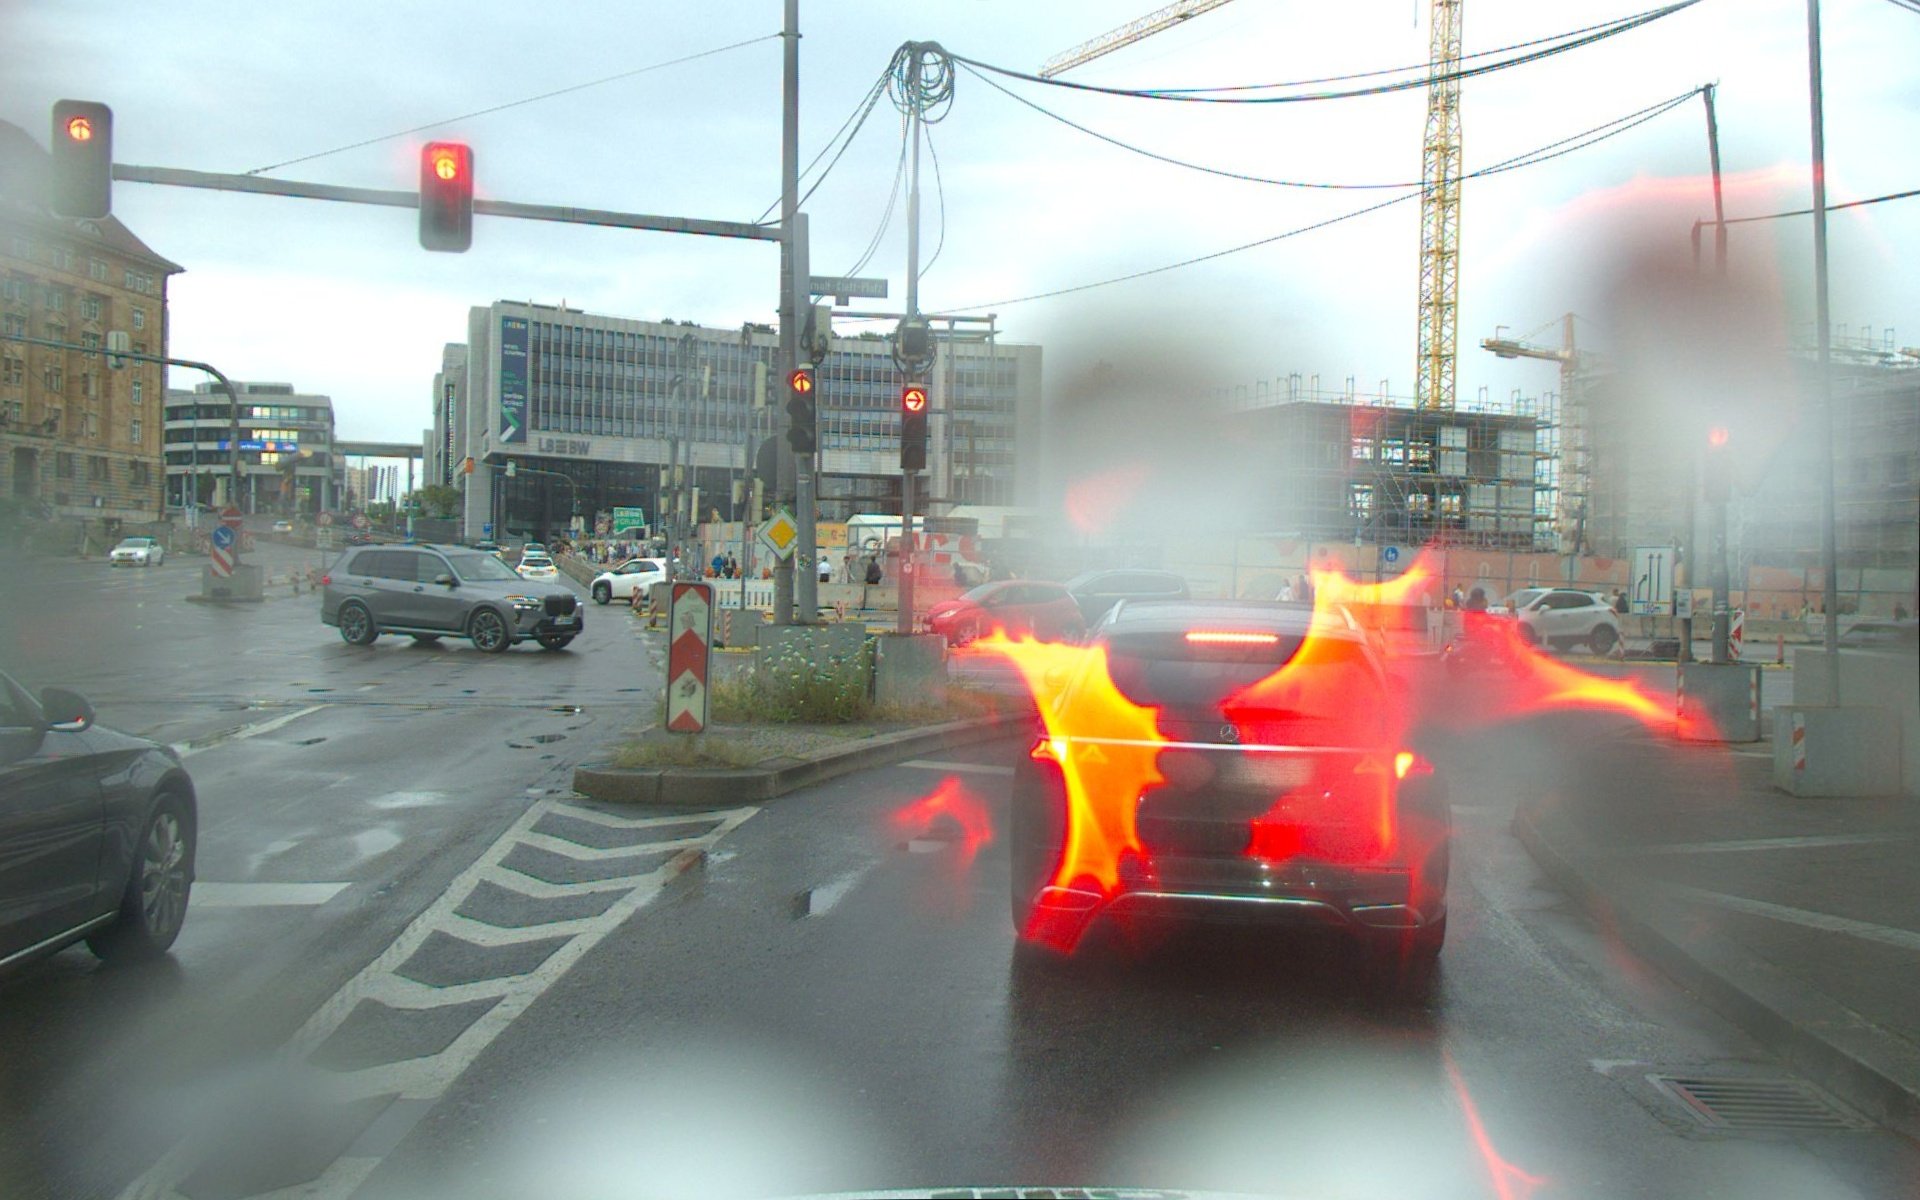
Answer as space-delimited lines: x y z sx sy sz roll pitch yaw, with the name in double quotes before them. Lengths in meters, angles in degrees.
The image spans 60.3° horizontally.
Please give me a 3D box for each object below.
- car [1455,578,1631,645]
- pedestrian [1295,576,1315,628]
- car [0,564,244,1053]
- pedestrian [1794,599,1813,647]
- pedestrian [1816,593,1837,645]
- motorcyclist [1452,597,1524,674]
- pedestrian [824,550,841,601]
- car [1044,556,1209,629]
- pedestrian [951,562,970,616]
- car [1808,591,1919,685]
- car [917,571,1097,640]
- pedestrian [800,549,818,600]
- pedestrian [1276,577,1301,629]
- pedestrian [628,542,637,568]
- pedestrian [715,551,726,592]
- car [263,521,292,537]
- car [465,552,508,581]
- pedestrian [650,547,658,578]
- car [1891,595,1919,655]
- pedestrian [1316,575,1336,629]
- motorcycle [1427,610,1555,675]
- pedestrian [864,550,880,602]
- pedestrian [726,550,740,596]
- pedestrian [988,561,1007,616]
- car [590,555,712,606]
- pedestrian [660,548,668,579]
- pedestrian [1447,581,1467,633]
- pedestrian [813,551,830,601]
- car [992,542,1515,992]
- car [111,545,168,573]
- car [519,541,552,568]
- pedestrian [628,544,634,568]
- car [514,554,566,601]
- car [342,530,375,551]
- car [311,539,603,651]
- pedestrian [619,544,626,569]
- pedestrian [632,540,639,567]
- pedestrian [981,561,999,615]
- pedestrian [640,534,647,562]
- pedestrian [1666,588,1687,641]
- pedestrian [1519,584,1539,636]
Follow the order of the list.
"car" 15.233 0.301 43.256 3.980 1.579 1.988 2 -1 -20
"pedestrian" 12.810 0.080 61.401 0.564 1.931 0.361 2 -1 -12
"car" -3.729 0.624 4.781 1.749 1.427 4.481 2 1 -6
"pedestrian" 34.105 0.939 66.863 0.564 1.931 0.361 2 -1 -12
"pedestrian" 32.984 0.724 62.965 0.564 1.931 0.361 2 -1 -12
"motorcyclist" 9.747 0.646 30.554 0.929 1.382 0.846 2 -1 -14
"pedestrian" -4.888 -0.939 63.423 0.359 1.931 0.568 3 -1 -41
"car" 4.420 -0.180 44.082 3.923 1.764 1.991 2 -1 -17
"pedestrian" 0.008 -0.385 60.025 0.562 1.931 0.362 2 -1 13
"car" 17.083 0.692 28.412 4.017 1.533 1.999 2 -1 -3
"car" 0.991 0.132 35.453 3.481 1.327 1.657 2 -1 -20
"pedestrian" -5.754 -0.973 63.053 0.358 1.931 0.569 3 -1 -37
"pedestrian" 12.284 0.115 61.881 0.645 1.934 0.630 2 -1 -14
"pedestrian" -24.723 -3.365 124.882 0.511 1.931 0.573 2 -1 -18
"pedestrian" -11.379 -1.364 78.504 0.356 1.931 0.572 2 -1 -22
"car" -84.769 -8.783 205.495 1.984 1.847 3.936 3 -1 -43
"car" -29.313 -2.067 102.297 1.968 1.668 3.969 2 -1 -25
"pedestrian" -18.916 -2.306 102.272 0.355 1.931 0.573 2 -1 -18
"car" 29.812 0.797 48.765 3.925 1.738 1.990 2 -1 -18
"pedestrian" 13.189 0.062 59.560 0.564 1.931 0.361 2 -1 -12
"motorcycle" 9.815 0.778 30.568 2.099 1.128 0.848 2 -1 -13
"pedestrian" -3.308 -0.899 62.038 0.356 1.931 0.572 2 -1 -22
"pedestrian" -9.635 -1.137 70.132 0.357 1.931 0.571 2 -1 -26
"pedestrian" 1.335 -0.408 58.401 0.564 1.931 0.361 2 -1 -8
"car" -9.975 -0.624 53.389 3.478 1.499 1.784 2 -1 26
"pedestrian" -18.365 -2.253 102.463 0.355 1.931 0.573 2 -1 -18
"pedestrian" 18.430 0.263 61.392 0.564 1.931 0.361 2 -1 -12
"pedestrian" -5.312 -0.913 63.255 0.359 1.931 0.568 1 -1 -41
"car" 1.232 0.626 8.048 1.851 1.571 3.995 2 -1 5
"car" -42.500 -2.126 85.740 1.737 1.282 3.987 2 -1 -13
"car" -29.612 -3.178 115.380 1.704 1.668 3.412 2 3 -22
"pedestrian" -26.115 -3.492 131.252 0.355 1.931 0.573 2 -1 -18
"car" -17.602 -0.902 69.156 1.961 1.797 4.400 2 -1 -15
"car" -64.134 -6.321 176.380 1.982 2.049 3.940 3 -1 -41
"car" -9.116 -0.099 29.930 4.986 1.829 1.998 2 -1 25
"pedestrian" -26.737 -3.434 131.012 0.355 1.931 0.573 2 -1 -18
"pedestrian" -23.656 -3.410 120.525 0.355 1.931 0.573 2 -1 -18
"pedestrian" 1.080 -0.444 59.746 0.563 1.931 0.362 2 -1 2
"pedestrian" -22.412 -3.676 117.211 0.355 1.931 0.573 2 -1 -18
"pedestrian" 26.446 0.537 61.083 0.564 1.931 0.361 2 -1 -12
"pedestrian" 21.209 0.371 61.686 0.564 1.931 0.361 2 -1 -12
